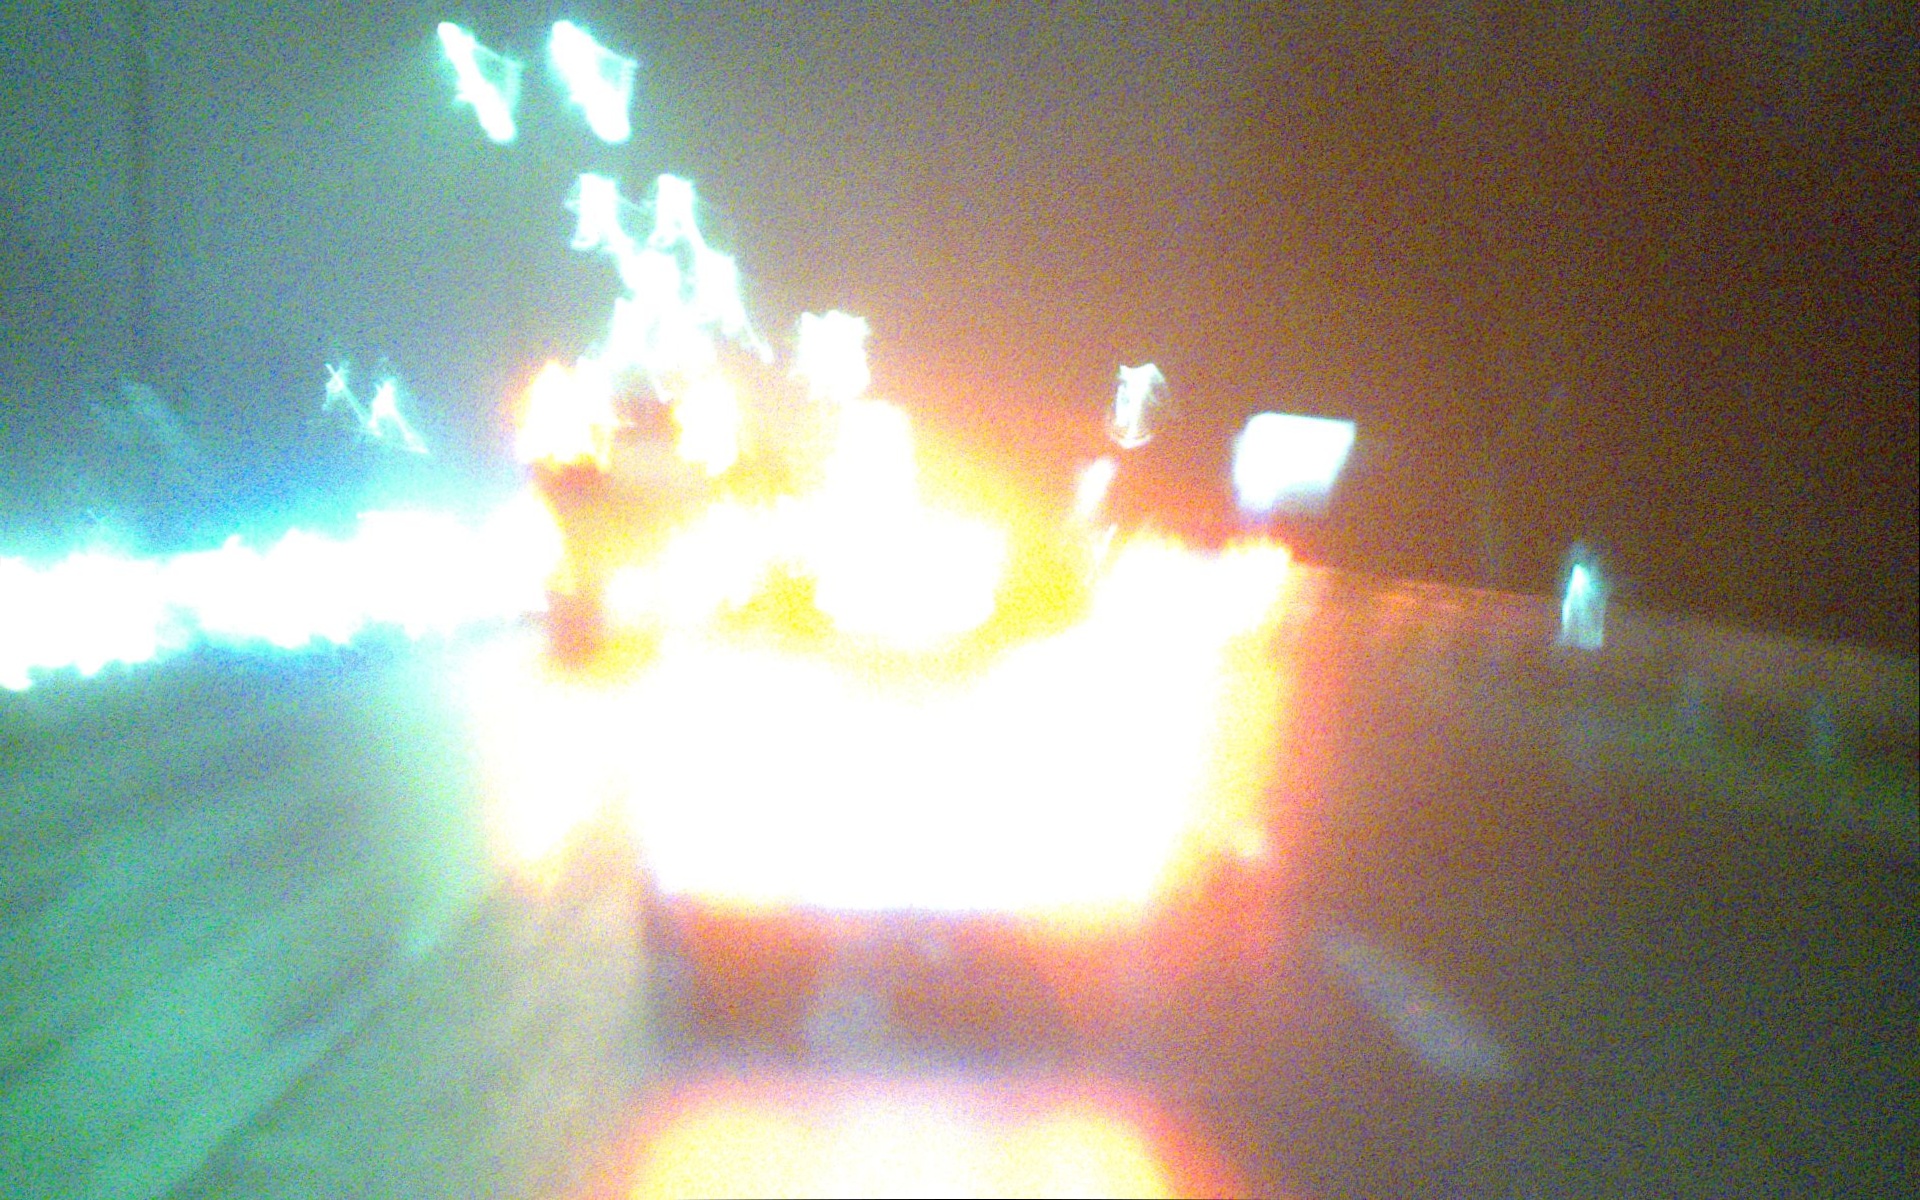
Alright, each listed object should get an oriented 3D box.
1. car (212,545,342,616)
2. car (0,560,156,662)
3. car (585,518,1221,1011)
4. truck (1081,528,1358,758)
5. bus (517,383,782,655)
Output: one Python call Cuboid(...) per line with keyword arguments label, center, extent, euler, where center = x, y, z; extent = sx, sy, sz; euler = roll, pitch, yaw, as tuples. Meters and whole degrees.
Cuboid(label="car", center=(-15.548, -0.427, 78.528), extent=(2.023, 1.497, 4.897), euler=(2, 0, -1))
Cuboid(label="car", center=(-14.267, 0.181, 55.588), extent=(1.600, 1.546, 3.834), euler=(2, 0, 0))
Cuboid(label="car", center=(-0.107, 0.490, 12.457), extent=(1.944, 1.486, 3.716), euler=(1, 0, 2))
Cuboid(label="truck", center=(3.282, 0.519, 42.870), extent=(3.070, 2.520, 7.165), euler=(2, 0, 5))
Cuboid(label="bus", center=(-3.913, -1.048, 45.267), extent=(2.743, 3.113, 9.202), euler=(2, 1, -1))
